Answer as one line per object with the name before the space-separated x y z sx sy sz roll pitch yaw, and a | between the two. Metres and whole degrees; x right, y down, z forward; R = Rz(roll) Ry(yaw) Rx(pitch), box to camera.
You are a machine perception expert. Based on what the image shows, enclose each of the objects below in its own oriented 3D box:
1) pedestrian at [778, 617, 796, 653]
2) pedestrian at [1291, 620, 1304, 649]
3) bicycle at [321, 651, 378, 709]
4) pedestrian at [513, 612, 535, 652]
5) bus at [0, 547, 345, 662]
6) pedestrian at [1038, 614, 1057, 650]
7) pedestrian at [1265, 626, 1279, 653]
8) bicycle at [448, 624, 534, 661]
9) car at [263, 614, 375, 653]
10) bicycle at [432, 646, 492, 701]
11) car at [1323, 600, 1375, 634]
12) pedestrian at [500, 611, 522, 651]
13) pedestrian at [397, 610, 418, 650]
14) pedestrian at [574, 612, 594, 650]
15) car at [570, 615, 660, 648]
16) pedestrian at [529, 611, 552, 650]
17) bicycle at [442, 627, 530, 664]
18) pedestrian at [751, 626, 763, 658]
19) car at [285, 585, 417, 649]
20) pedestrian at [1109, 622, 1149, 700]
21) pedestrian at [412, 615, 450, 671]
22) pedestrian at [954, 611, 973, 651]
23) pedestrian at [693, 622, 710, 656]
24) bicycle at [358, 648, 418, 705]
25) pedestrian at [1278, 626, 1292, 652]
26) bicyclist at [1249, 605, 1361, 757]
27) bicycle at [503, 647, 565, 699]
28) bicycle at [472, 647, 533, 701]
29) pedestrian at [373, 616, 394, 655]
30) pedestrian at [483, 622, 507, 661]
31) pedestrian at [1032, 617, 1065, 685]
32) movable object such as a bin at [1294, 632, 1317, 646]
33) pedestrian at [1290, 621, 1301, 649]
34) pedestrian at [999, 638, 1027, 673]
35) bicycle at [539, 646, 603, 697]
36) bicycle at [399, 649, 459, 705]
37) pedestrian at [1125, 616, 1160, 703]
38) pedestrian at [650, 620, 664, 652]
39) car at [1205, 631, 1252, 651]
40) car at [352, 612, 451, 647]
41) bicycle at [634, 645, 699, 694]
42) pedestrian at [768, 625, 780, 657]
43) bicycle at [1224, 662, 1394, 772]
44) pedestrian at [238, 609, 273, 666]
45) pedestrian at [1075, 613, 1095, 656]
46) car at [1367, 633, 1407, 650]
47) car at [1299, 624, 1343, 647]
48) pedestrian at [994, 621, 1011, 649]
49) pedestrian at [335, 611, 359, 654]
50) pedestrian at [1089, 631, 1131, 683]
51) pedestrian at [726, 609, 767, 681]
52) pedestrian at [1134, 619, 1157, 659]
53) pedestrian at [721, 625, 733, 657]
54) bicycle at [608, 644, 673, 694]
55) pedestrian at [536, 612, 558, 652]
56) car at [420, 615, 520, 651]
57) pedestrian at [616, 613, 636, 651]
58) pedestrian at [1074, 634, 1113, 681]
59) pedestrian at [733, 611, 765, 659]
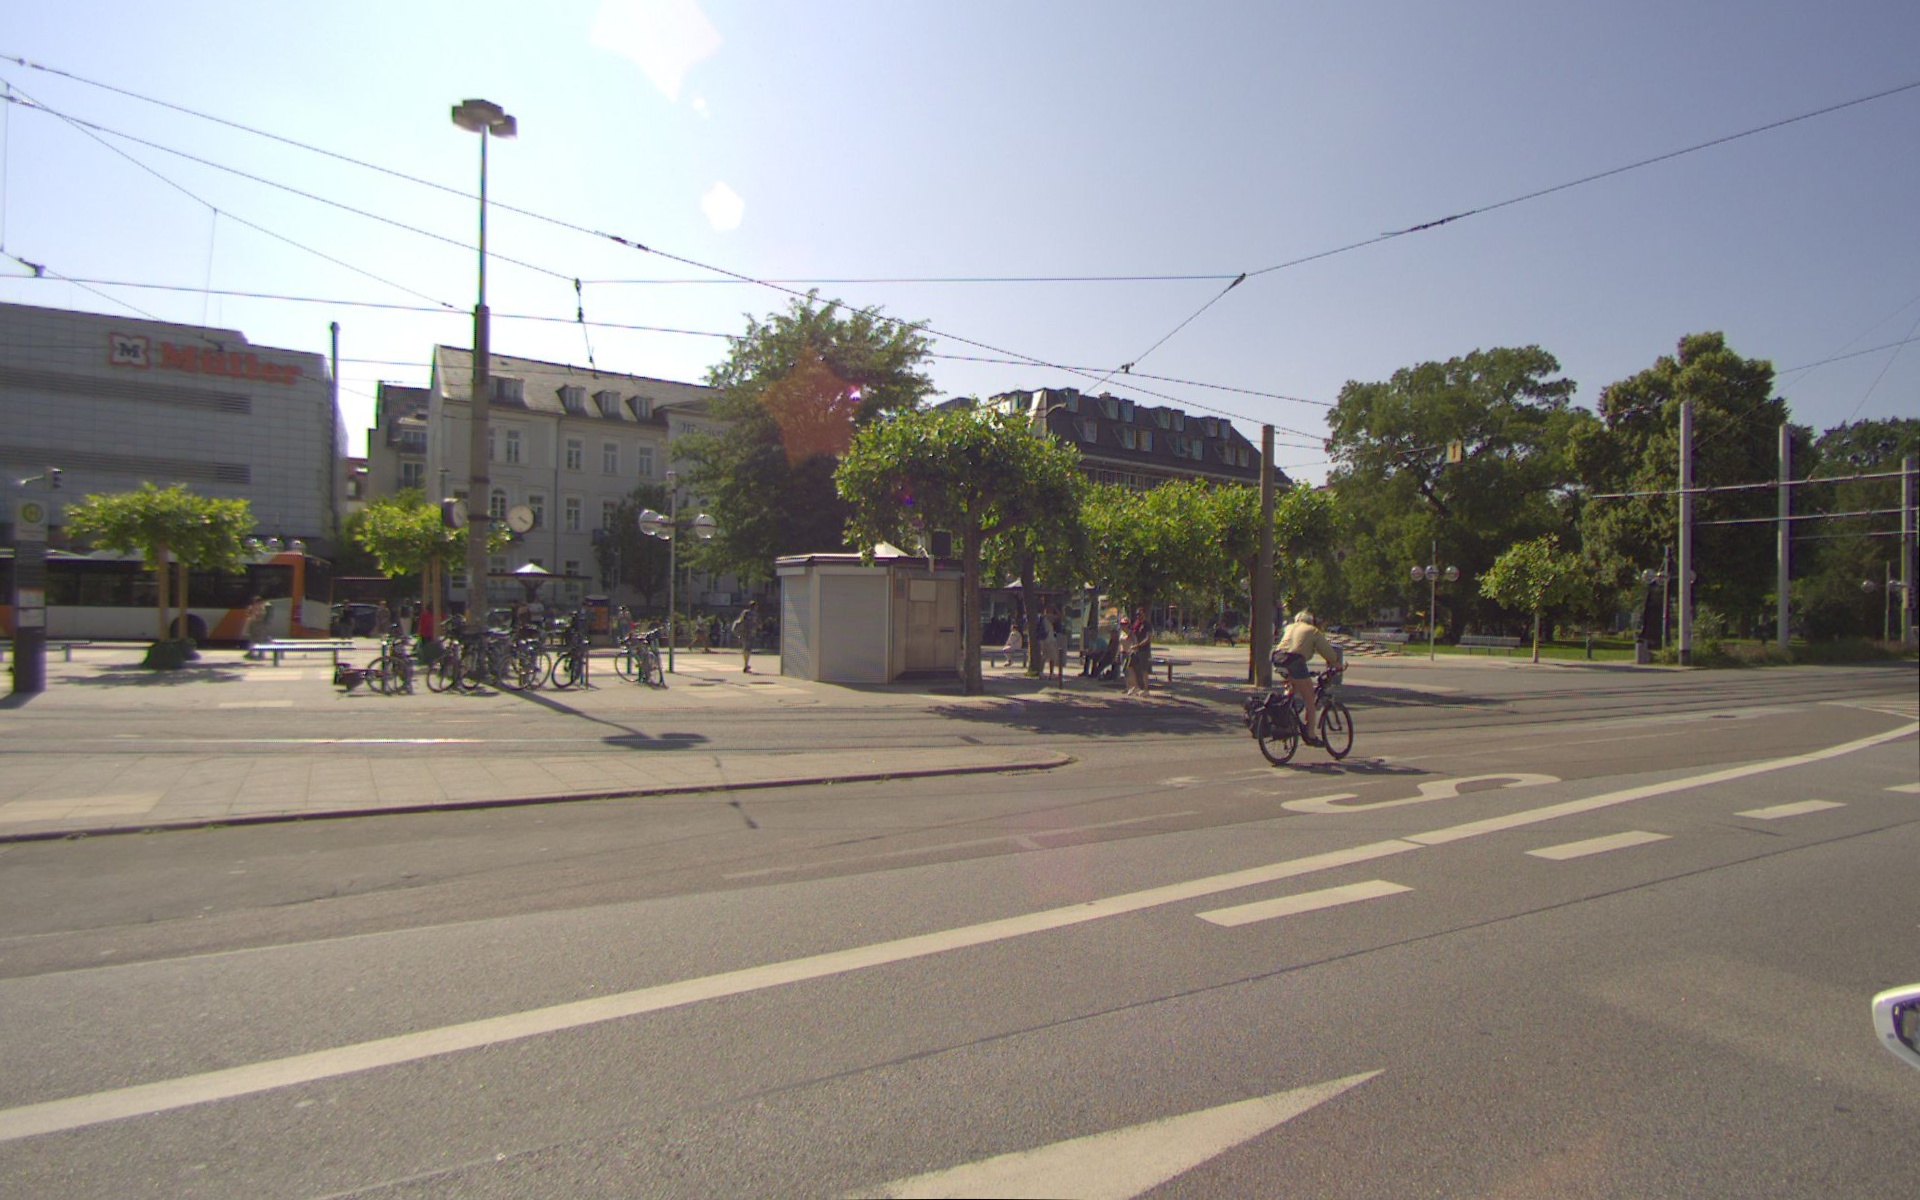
pedestrian | -7.186 1.457 41.716 0.669 1.485 0.623 1 -1 -17
pedestrian | 19.460 1.992 57.878 0.460 1.630 0.449 0 -2 -30
bicycle | -11.091 1.425 18.222 0.542 0.868 1.847 1 1 -42
pedestrian | -16.477 1.199 37.951 0.673 1.484 0.619 0 -2 -33
bus | -27.885 0.121 33.457 12.240 3.466 3.060 1 1 -11
pedestrian | 4.333 1.598 49.759 0.612 1.751 0.737 0 -2 -31
pedestrian | 19.127 2.412 61.567 0.615 1.630 0.488 0 -3 -40
bicycle | -19.505 1.765 41.830 3.097 1.397 0.820 2 1 -10
car | -27.522 1.434 43.182 3.962 1.528 1.743 1 1 -36
bicycle | -9.595 1.390 19.310 0.542 0.868 1.847 1 1 -42
car | 40.259 1.729 103.981 5.358 3.361 2.115 1 1 -31
pedestrian | -17.313 1.194 38.724 0.620 1.484 0.577 1 -3 -42
pedestrian | -21.320 1.161 38.779 0.578 1.484 0.559 -3 -3 41
pedestrian | -14.797 1.225 39.511 0.671 1.484 0.621 0 -2 -26
car | -17.507 1.593 51.032 3.962 1.528 1.743 1 1 -36
pedestrian | -16.191 1.195 38.779 0.674 1.484 0.619 0 -3 -37
bicycle | -19.309 1.835 40.949 3.096 1.397 0.820 2 1 -9
pedestrian | -8.380 1.738 41.456 0.445 1.279 0.517 -1 -2 -14
car | -29.773 0.826 49.197 5.347 2.926 1.939 1 1 -36
pedestrian | 3.610 1.302 21.472 0.617 1.630 0.524 0 -2 -21
pedestrian | -14.251 1.154 27.066 0.667 1.484 0.625 -2 -2 22
pedestrian | 0.157 1.390 45.111 0.537 1.771 0.629 -2 -2 38
pedestrian | -9.938 1.504 38.618 0.573 1.279 0.620 0 -2 -21
bicycle | -10.646 1.393 18.658 0.579 0.883 1.847 1 1 -42
pedestrian | 19.730 2.370 60.952 0.655 1.512 0.521 0 -3 -38
bicyclist | 3.931 0.891 11.465 0.892 1.643 0.814 0 -1 -30
bicycle | -8.457 1.421 19.917 0.542 0.868 1.847 1 1 -42
bicycle | -8.933 1.423 19.588 0.542 0.868 1.847 1 1 -42
pedestrian | -22.440 1.371 39.085 0.672 1.484 0.621 0 -2 -27
pedestrian | -18.384 1.640 39.695 0.735 1.484 0.782 0 -3 -35
pedestrian | 2.173 1.256 24.697 0.566 1.630 0.602 -2 -2 31
movable object such as a bin | 19.594 2.216 56.940 0.790 0.764 0.903 0 -3 -30
pedestrian | 19.567 2.038 58.565 0.491 1.630 0.410 0 -3 -39
pedestrian | 1.580 1.641 29.874 0.573 1.014 0.632 0 -2 -27
bicycle | -7.921 1.430 20.407 0.577 0.881 1.847 1 1 -42
bicycle | -10.031 1.427 18.943 0.542 0.868 1.847 1 1 -42
pedestrian | 3.793 1.230 20.871 0.517 1.756 0.587 -2 -2 30
pedestrian | -12.231 1.467 40.532 0.447 1.279 0.515 0 -2 -25
car | 22.637 3.416 84.736 3.962 1.528 1.743 1 1 -36
car | -26.523 1.379 47.747 3.962 1.528 1.743 1 1 -36
bicycle | -6.275 1.463 21.419 0.577 0.881 1.847 1 1 -42
pedestrian | -7.671 1.686 41.419 0.445 1.279 0.517 -1 -2 -14
bicycle | 3.997 1.290 11.472 1.852 1.135 0.814 1 -3 -30
pedestrian | -18.624 1.001 26.567 0.616 1.484 0.677 0 -2 -24
pedestrian | 6.012 1.667 48.298 0.726 2.034 0.627 0 -2 -25
car | 40.447 3.900 95.148 3.962 1.528 1.743 1 1 -36
car | 33.562 3.292 93.488 3.602 2.041 1.983 1 1 -31
pedestrian | 2.123 1.737 50.313 0.591 1.377 0.565 0 -2 -31
pedestrian | -21.297 1.128 34.917 0.672 1.484 0.621 0 -2 -27
pedestrian | 3.726 1.420 25.006 0.745 1.263 0.670 0 -3 -36
pedestrian | -5.292 1.111 24.884 0.827 1.751 0.748 0 -2 -24
pedestrian | 8.089 1.692 43.845 0.697 1.728 0.673 0 -2 -31
pedestrian | -9.567 1.694 41.168 0.445 1.279 0.517 -1 -2 -16
bicycle | -6.702 1.415 21.019 0.577 0.881 1.847 1 1 -42
pedestrian | -15.644 1.222 38.053 0.674 1.484 0.619 0 -3 -35
car | -22.827 1.502 46.841 3.962 1.528 1.743 1 1 -36
pedestrian | -13.238 1.266 39.822 0.671 1.484 0.621 0 -2 -26
pedestrian | 3.472 1.500 26.167 0.745 1.186 0.670 0 -3 -36
pedestrian | -8.213 1.377 39.065 1.064 1.817 0.964 0 -2 -21
